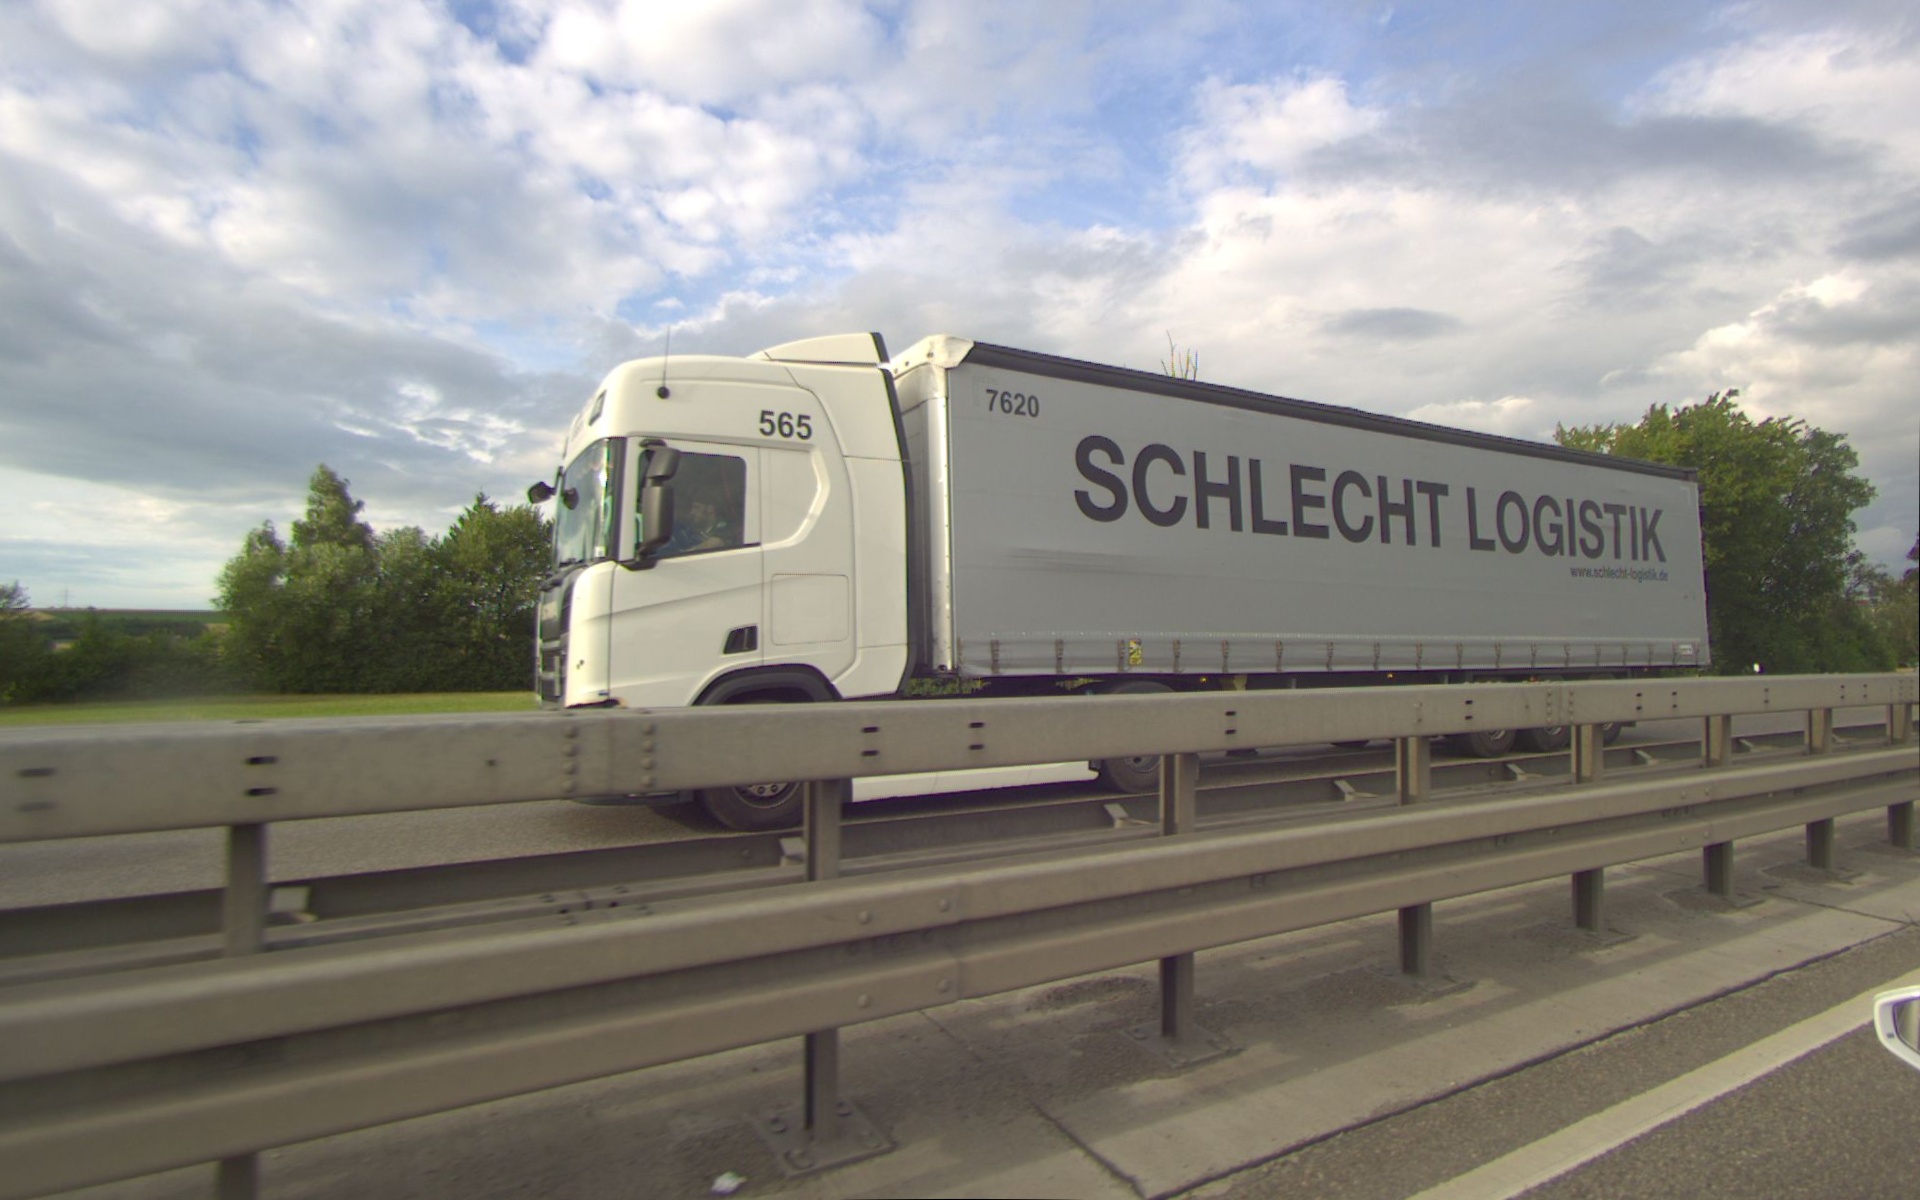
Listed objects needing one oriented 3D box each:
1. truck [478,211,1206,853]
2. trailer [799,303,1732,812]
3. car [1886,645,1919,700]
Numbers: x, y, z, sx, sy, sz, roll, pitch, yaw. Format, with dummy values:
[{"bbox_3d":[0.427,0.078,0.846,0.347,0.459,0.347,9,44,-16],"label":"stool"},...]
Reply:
[{"bbox_3d":[-1.112,-0.297,9.575,5.980,4.204,3.459,2,-4,-31],"label":"truck"},{"bbox_3d":[4.949,-0.101,13.300,13.756,4.204,3.449,2,-4,-31],"label":"trailer"},{"bbox_3d":[26.133,1.869,26.219,4.113,1.404,1.780,1,-3,-31],"label":"car"}]
